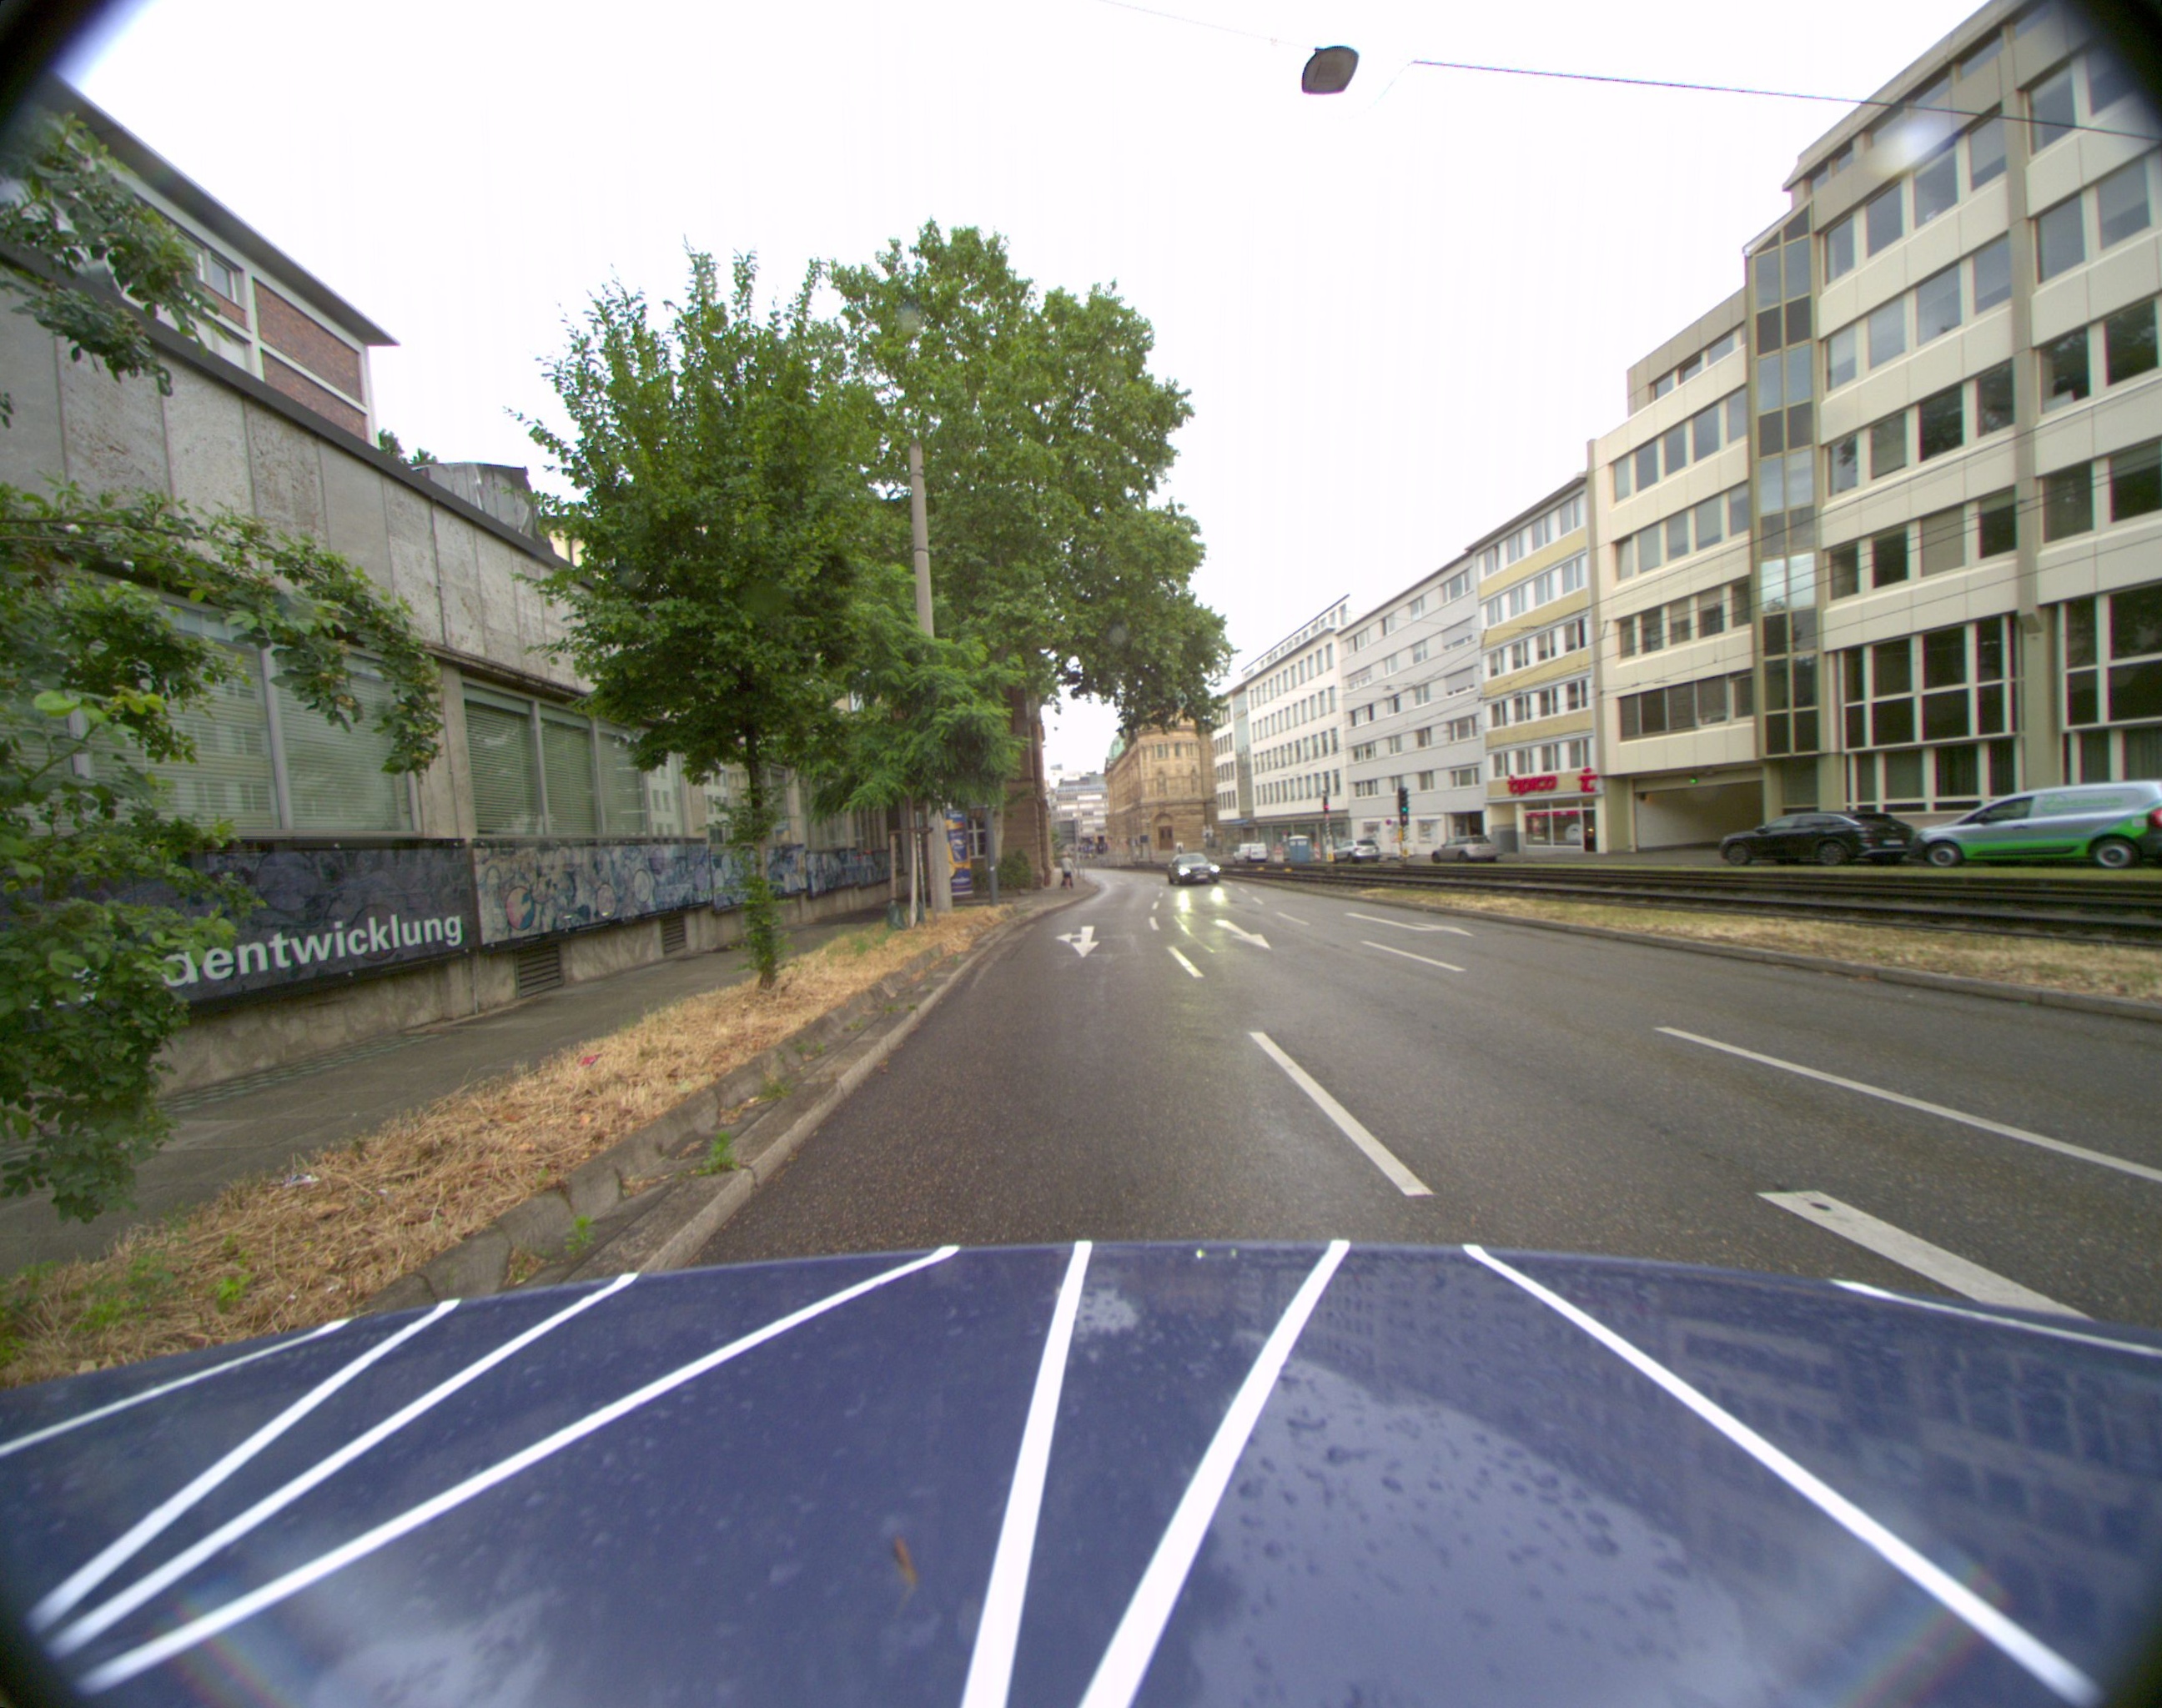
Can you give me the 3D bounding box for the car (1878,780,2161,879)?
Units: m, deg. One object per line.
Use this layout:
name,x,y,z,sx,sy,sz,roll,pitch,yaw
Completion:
car,21.504,-0.560,17.023,1.999,1.840,4.691,-6,2,-7

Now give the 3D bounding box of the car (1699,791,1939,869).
car,21.032,-0.660,22.008,1.999,1.840,4.691,-6,2,-7

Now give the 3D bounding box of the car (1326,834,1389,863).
car,18.333,-0.334,50.621,1.999,1.664,4.694,-6,0,-4

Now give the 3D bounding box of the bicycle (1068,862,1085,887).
bicycle,-0.226,1.016,38.034,0.620,1.213,0.911,-2,1,12

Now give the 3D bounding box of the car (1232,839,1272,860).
car,16.424,-0.477,73.304,1.999,1.832,5.127,-6,2,-7

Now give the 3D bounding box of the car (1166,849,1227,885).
car,5.405,0.597,36.131,1.999,1.458,4.642,-5,0,-1

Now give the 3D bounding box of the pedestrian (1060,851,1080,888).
pedestrian,-0.540,0.744,37.040,0.719,1.732,1.020,-1,1,11

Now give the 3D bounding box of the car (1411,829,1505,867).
car,19.322,-0.351,39.233,1.999,1.664,4.691,-6,2,-7
